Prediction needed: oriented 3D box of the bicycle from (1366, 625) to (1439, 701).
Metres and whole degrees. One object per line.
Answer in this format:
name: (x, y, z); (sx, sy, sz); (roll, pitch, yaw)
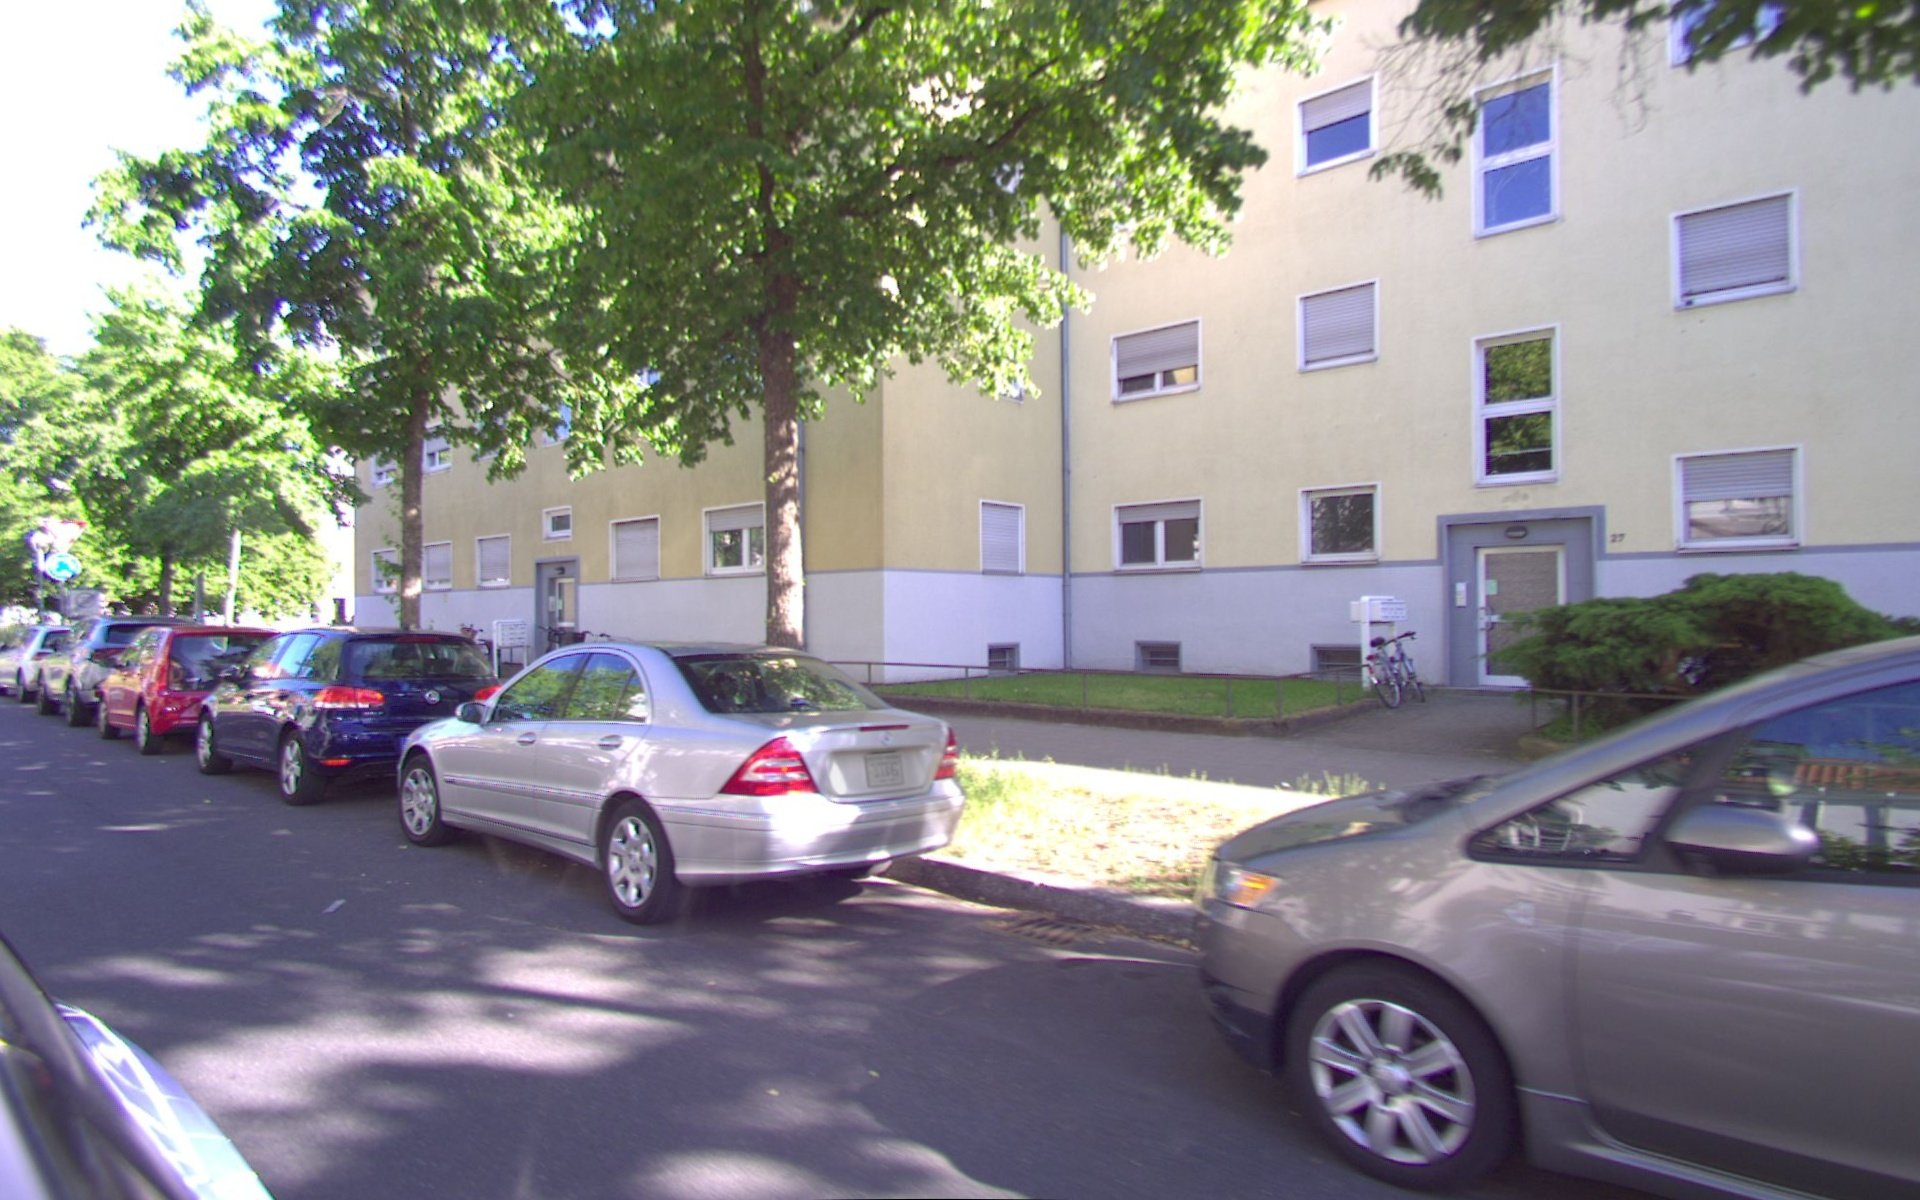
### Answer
bicycle: (5.806, 0.797, 13.240); (0.480, 0.938, 1.617); (-2, -2, 38)

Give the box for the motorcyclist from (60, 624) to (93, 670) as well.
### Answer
motorcyclist: (-27.510, 1.460, 31.524); (0.548, 1.413, 0.518); (0, -2, 9)

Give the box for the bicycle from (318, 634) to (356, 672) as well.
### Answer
bicycle: (-17.051, 1.425, 27.688); (1.544, 1.008, 0.470); (-2, -2, 42)

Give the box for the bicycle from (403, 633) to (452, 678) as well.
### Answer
bicycle: (-12.518, 1.295, 23.792); (1.544, 1.008, 0.506); (-2, -2, 41)

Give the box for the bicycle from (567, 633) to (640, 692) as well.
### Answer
bicycle: (-6.675, 1.143, 18.921); (1.748, 1.034, 0.530); (-2, -2, 43)

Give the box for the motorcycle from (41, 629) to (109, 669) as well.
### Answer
motorcycle: (-27.511, 1.522, 31.488); (0.548, 1.184, 1.627); (-1, -1, 10)

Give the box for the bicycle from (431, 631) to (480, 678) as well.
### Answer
bicycle: (-11.305, 1.209, 22.650); (1.545, 1.008, 0.509); (-2, -2, 44)

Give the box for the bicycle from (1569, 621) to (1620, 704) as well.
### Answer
bicycle: (7.744, 0.731, 12.357); (0.480, 0.938, 1.619); (-1, -2, 32)

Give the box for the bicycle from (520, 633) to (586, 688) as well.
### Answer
bicycle: (-8.133, 1.191, 20.188); (1.748, 1.034, 0.534); (-2, -2, 43)

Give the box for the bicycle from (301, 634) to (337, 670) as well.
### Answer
bicycle: (-18.253, 1.465, 28.808); (1.544, 1.008, 0.471); (-2, -2, 42)

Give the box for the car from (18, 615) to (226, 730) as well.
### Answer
car: (-13.385, 1.051, 16.055); (4.731, 1.577, 1.674); (-2, -2, 39)

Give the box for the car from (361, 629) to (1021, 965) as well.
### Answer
car: (-1.979, 0.878, 6.387); (4.672, 1.379, 1.727); (-1, -2, 41)

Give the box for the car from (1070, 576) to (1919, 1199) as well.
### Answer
car: (2.484, 0.754, 2.478); (4.268, 1.527, 1.603); (-1, -3, 42)

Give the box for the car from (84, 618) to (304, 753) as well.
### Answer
car: (-9.927, 1.005, 13.051); (3.254, 1.497, 1.647); (-2, -2, 41)

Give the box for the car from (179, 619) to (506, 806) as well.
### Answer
car: (-6.160, 0.943, 9.922); (3.931, 1.470, 1.647); (-2, -2, 41)

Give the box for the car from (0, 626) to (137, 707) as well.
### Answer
car: (-18.189, 1.257, 20.306); (3.988, 1.453, 1.743); (-1, -2, 38)

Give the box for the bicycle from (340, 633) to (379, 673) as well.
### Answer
bicycle: (-15.780, 1.381, 26.584); (1.544, 1.008, 0.448); (-2, -2, 41)

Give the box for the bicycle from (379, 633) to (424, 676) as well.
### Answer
bicycle: (-13.866, 1.338, 25.111); (1.681, 1.008, 0.430); (-2, -2, 42)
